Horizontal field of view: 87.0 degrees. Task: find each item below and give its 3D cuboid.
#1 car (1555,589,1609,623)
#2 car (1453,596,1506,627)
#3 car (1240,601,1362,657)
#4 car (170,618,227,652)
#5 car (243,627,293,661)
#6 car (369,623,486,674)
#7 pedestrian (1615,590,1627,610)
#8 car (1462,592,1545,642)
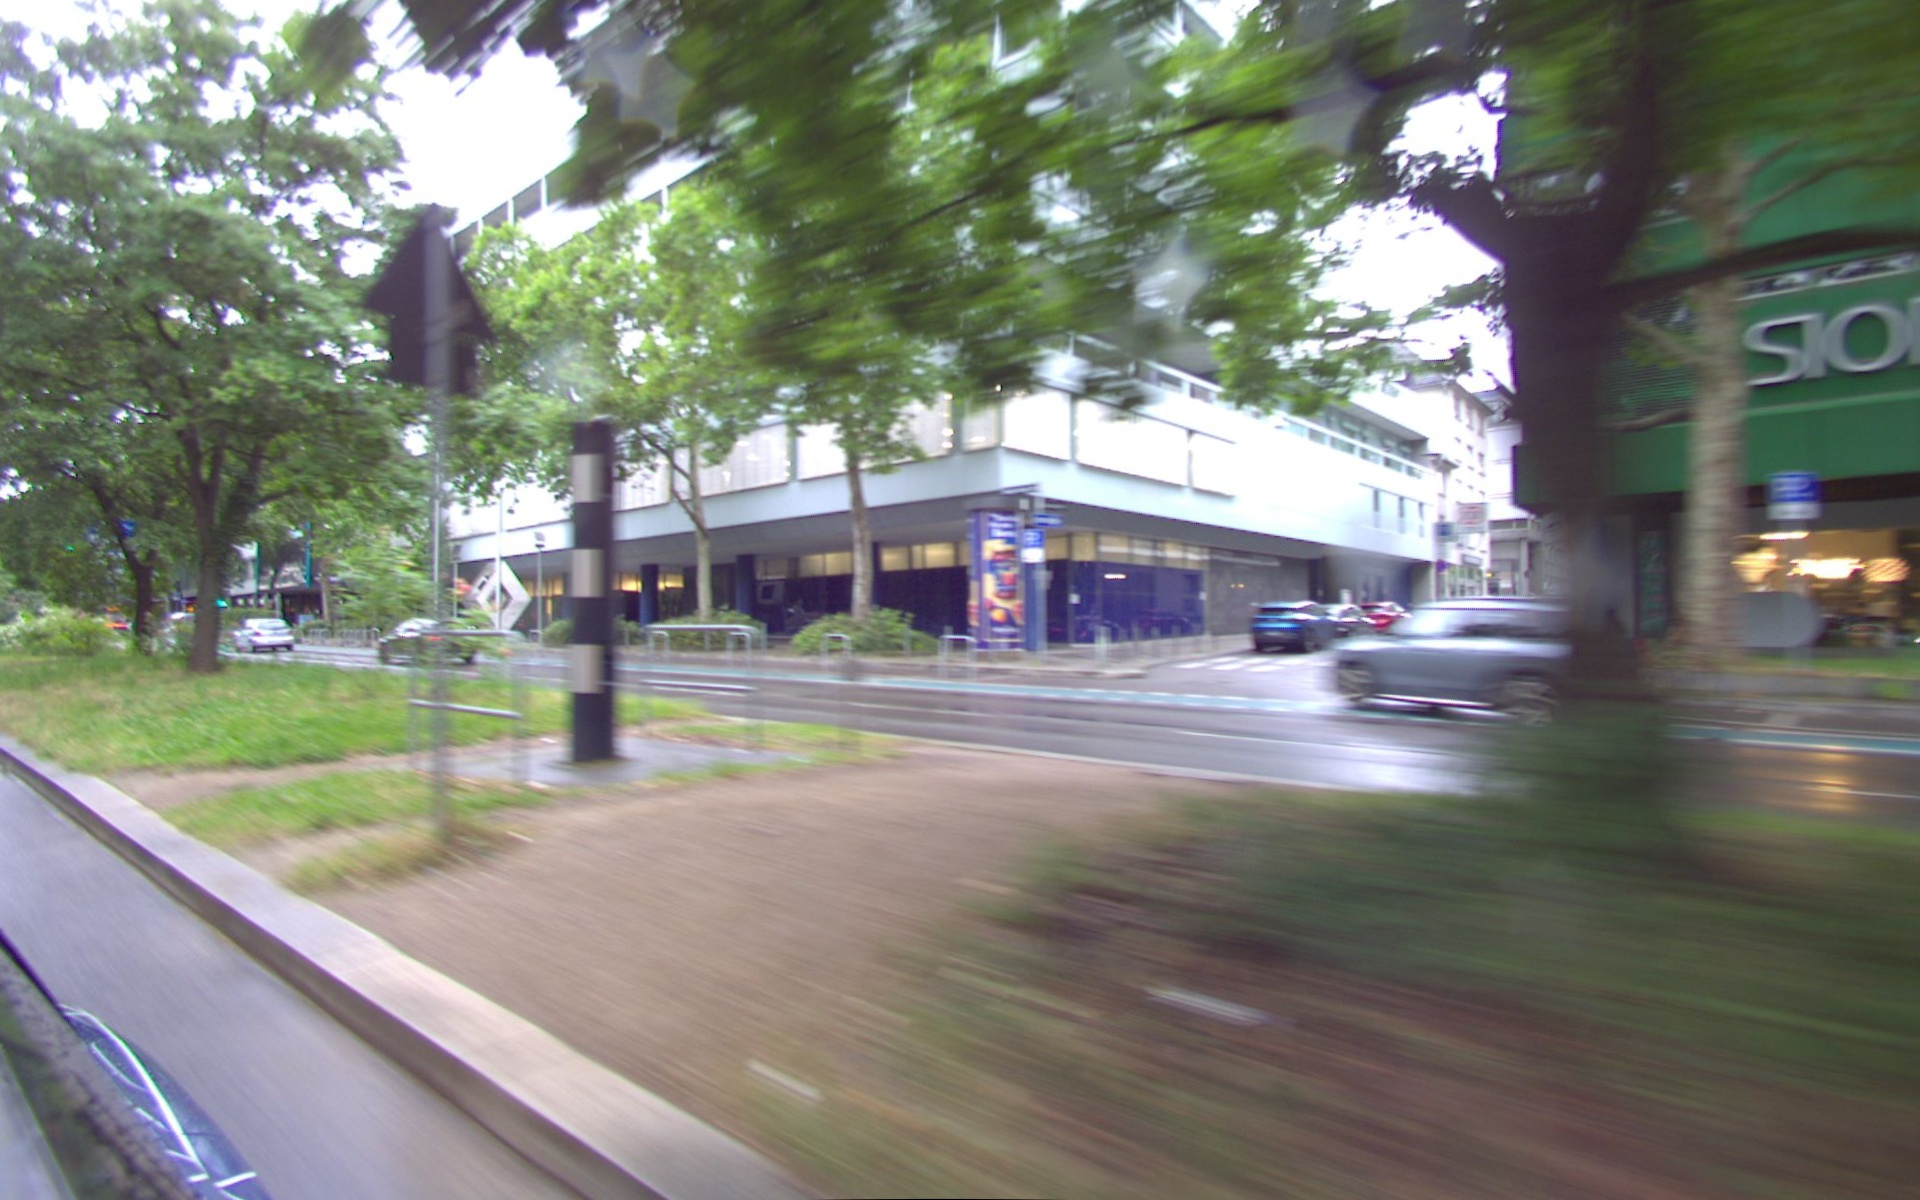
[{"bbox_3d":[32.836,0.308,53.367,1.997,1.697,3.950,-2,-1,37],"label":"car"},{"bbox_3d":[29.710,0.635,57.838,1.997,1.697,3.950,-2,-1,37],"label":"car"},{"bbox_3d":[11.372,0.915,33.544,2.000,1.705,4.933,-1,-1,43],"label":"car"},{"bbox_3d":[-42.631,1.945,56.619,1.971,1.815,4.284,2,-3,-45],"label":"car"},{"bbox_3d":[-30.850,1.935,45.103,3.562,1.473,1.147,-2,-3,45],"label":"car"},{"bbox_3d":[-17.105,1.536,32.403,4.757,1.503,1.971,-3,-2,44],"label":"car"},{"bbox_3d":[53.547,-0.020,81.937,0.556,1.627,0.561,-1,0,-6],"label":"pedestrian"},{"bbox_3d":[19.396,0.593,36.027,1.997,1.697,3.950,-2,-1,37],"label":"car"}]
